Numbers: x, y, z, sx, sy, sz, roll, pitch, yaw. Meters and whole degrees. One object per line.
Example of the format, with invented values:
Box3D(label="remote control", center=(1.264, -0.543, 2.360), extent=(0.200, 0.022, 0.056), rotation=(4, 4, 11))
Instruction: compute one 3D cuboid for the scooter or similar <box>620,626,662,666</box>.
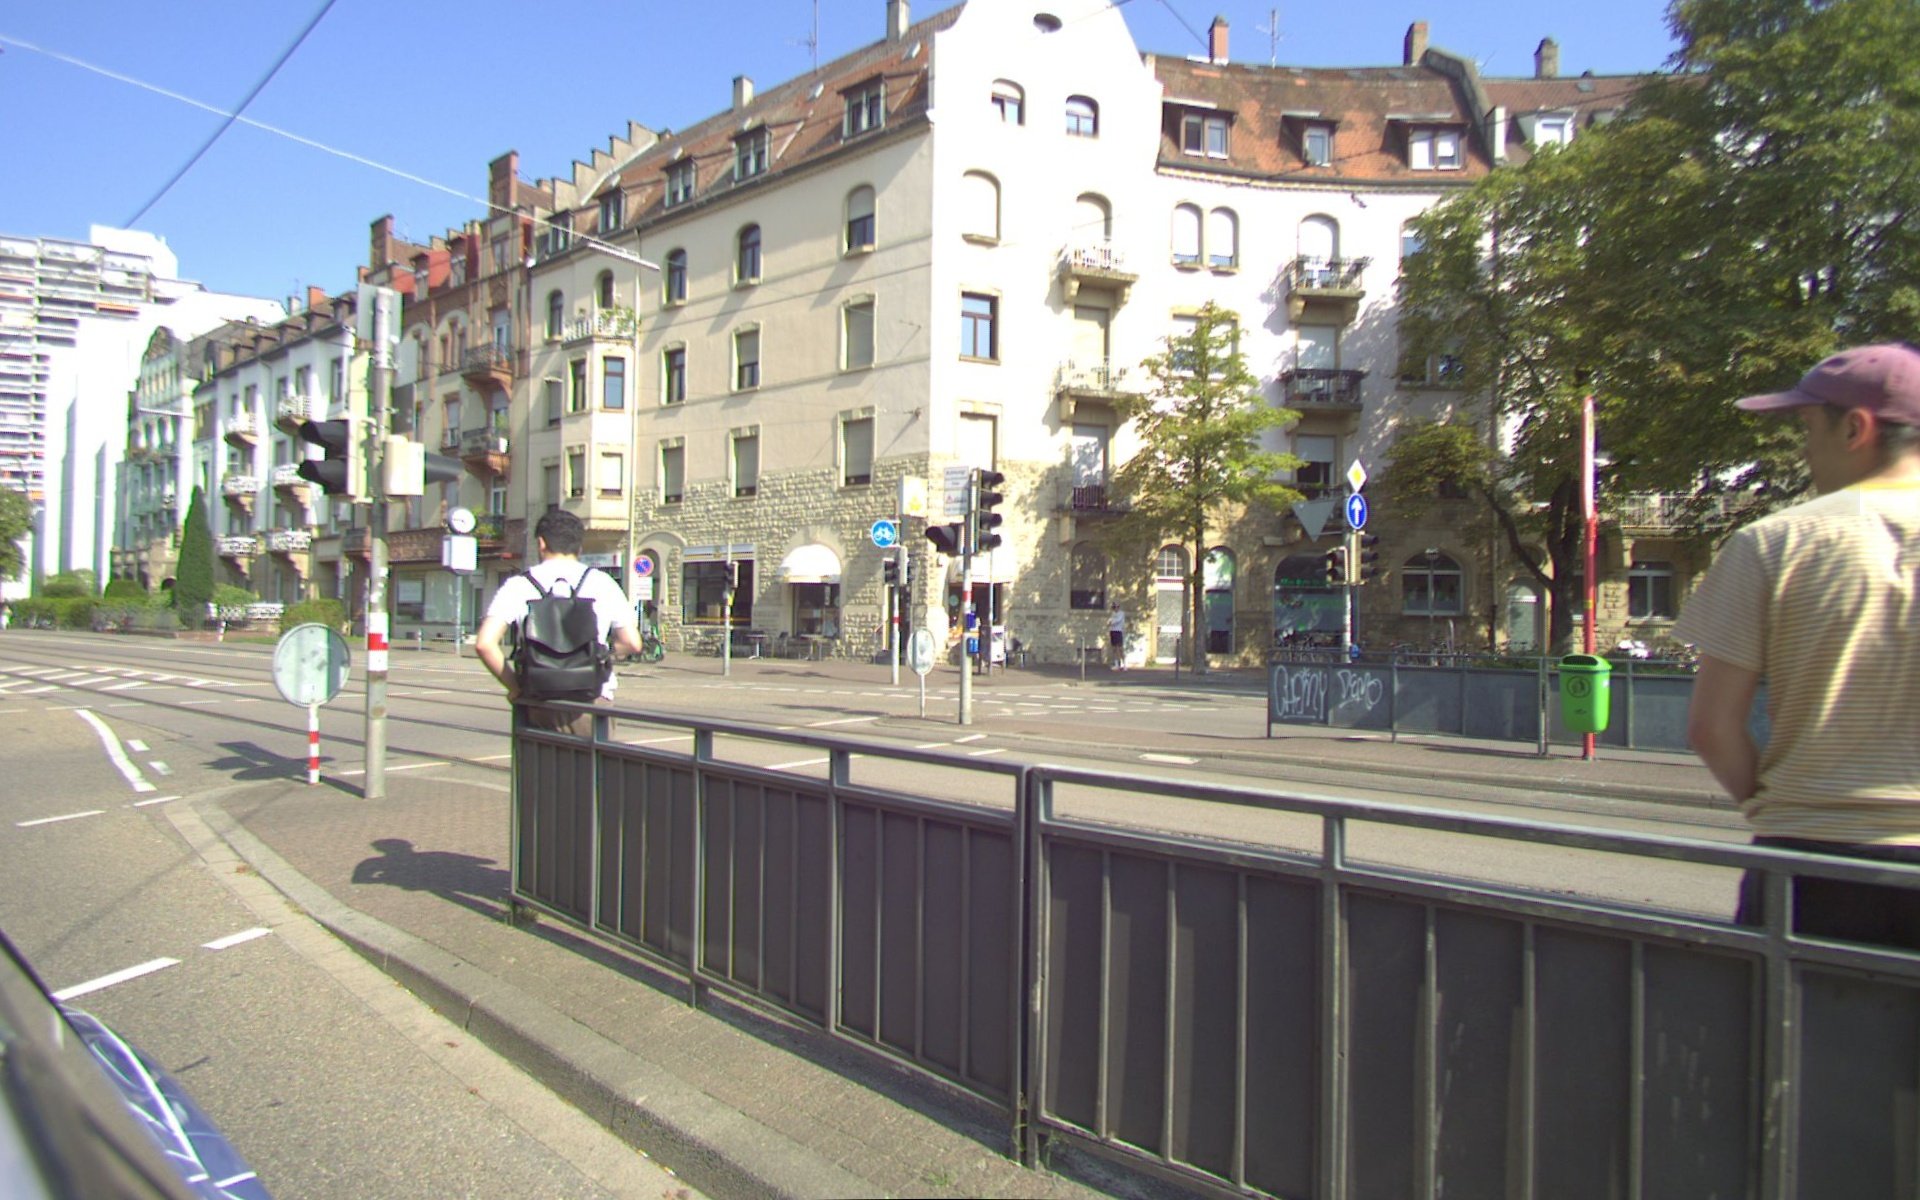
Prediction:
Box3D(label="scooter or similar", center=(-9.594, 1.376, 30.445), extent=(1.079, 1.167, 0.442), rotation=(1, -2, 1))

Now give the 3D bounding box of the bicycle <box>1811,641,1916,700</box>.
Box3D(label="bicycle", center=(23.052, 1.774, 25.894), extent=(0.857, 1.381, 2.297), rotation=(0, -1, 8))

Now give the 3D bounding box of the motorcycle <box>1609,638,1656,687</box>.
Box3D(label="motorcycle", center=(18.055, 1.650, 27.190), extent=(0.673, 1.186, 1.870), rotation=(0, 0, 22))

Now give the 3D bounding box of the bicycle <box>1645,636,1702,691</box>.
Box3D(label="bicycle", center=(18.937, 1.658, 26.910), extent=(0.863, 1.381, 2.283), rotation=(0, -2, 26))

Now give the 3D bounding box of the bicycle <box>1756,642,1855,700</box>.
Box3D(label="bicycle", center=(21.755, 1.792, 26.102), extent=(0.857, 1.381, 2.297), rotation=(0, -1, 8))

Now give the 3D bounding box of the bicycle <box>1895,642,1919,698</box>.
Box3D(label="bicycle", center=(24.526, 1.758, 25.402), extent=(0.862, 1.381, 2.284), rotation=(0, -2, 25))

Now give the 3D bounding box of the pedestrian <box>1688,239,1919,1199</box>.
Box3D(label="pedestrian", center=(1.543, 0.419, 1.526), extent=(0.676, 1.816, 0.553), rotation=(-1, -2, 40))

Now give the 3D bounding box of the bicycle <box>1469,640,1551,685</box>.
Box3D(label="bicycle", center=(14.502, 1.637, 26.761), extent=(0.686, 1.087, 2.344), rotation=(1, -1, -6))

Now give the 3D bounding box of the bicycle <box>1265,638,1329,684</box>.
Box3D(label="bicycle", center=(8.907, 1.591, 26.867), extent=(0.686, 1.087, 2.344), rotation=(1, -1, -6))

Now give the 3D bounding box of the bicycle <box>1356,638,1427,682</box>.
Box3D(label="bicycle", center=(11.583, 1.602, 27.255), extent=(0.686, 1.087, 2.344), rotation=(1, -1, -6))

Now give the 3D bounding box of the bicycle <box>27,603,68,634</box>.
Box3D(label="bicycle", center=(-57.820, 1.135, 64.098), extent=(3.543, 1.872, 1.005), rotation=(0, 0, 32))

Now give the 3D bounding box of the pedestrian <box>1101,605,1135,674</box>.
Box3D(label="pedestrian", center=(4.371, 1.088, 27.940), extent=(0.671, 1.882, 0.727), rotation=(0, -2, 33))

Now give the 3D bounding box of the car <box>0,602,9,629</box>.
Box3D(label="car", center=(-75.902, 1.157, 77.529), extent=(1.978, 2.029, 3.986), rotation=(0, -2, 10))

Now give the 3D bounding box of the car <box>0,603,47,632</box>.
Box3D(label="car", center=(-68.962, 1.263, 73.137), extent=(1.978, 2.029, 3.986), rotation=(0, -2, 10))

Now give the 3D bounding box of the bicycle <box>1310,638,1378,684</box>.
Box3D(label="bicycle", center=(10.104, 1.587, 26.726), extent=(0.686, 1.087, 2.344), rotation=(1, 0, -6))

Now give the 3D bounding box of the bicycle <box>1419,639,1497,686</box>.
Box3D(label="bicycle", center=(13.027, 1.627, 26.581), extent=(0.686, 1.087, 2.344), rotation=(1, 0, -6))

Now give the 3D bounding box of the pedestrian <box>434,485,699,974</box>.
Box3D(label="pedestrian", center=(-1.637, 0.482, 4.213), extent=(0.738, 1.783, 0.721), rotation=(-4, -2, 40))

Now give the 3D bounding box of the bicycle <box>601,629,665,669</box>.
Box3D(label="bicycle", center=(-9.593, 1.416, 29.671), extent=(1.885, 1.112, 0.541), rotation=(0, -2, 24))

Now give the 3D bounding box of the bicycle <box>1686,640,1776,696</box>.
Box3D(label="bicycle", center=(20.244, 1.752, 26.640), extent=(0.857, 1.381, 2.297), rotation=(0, -1, 8))
